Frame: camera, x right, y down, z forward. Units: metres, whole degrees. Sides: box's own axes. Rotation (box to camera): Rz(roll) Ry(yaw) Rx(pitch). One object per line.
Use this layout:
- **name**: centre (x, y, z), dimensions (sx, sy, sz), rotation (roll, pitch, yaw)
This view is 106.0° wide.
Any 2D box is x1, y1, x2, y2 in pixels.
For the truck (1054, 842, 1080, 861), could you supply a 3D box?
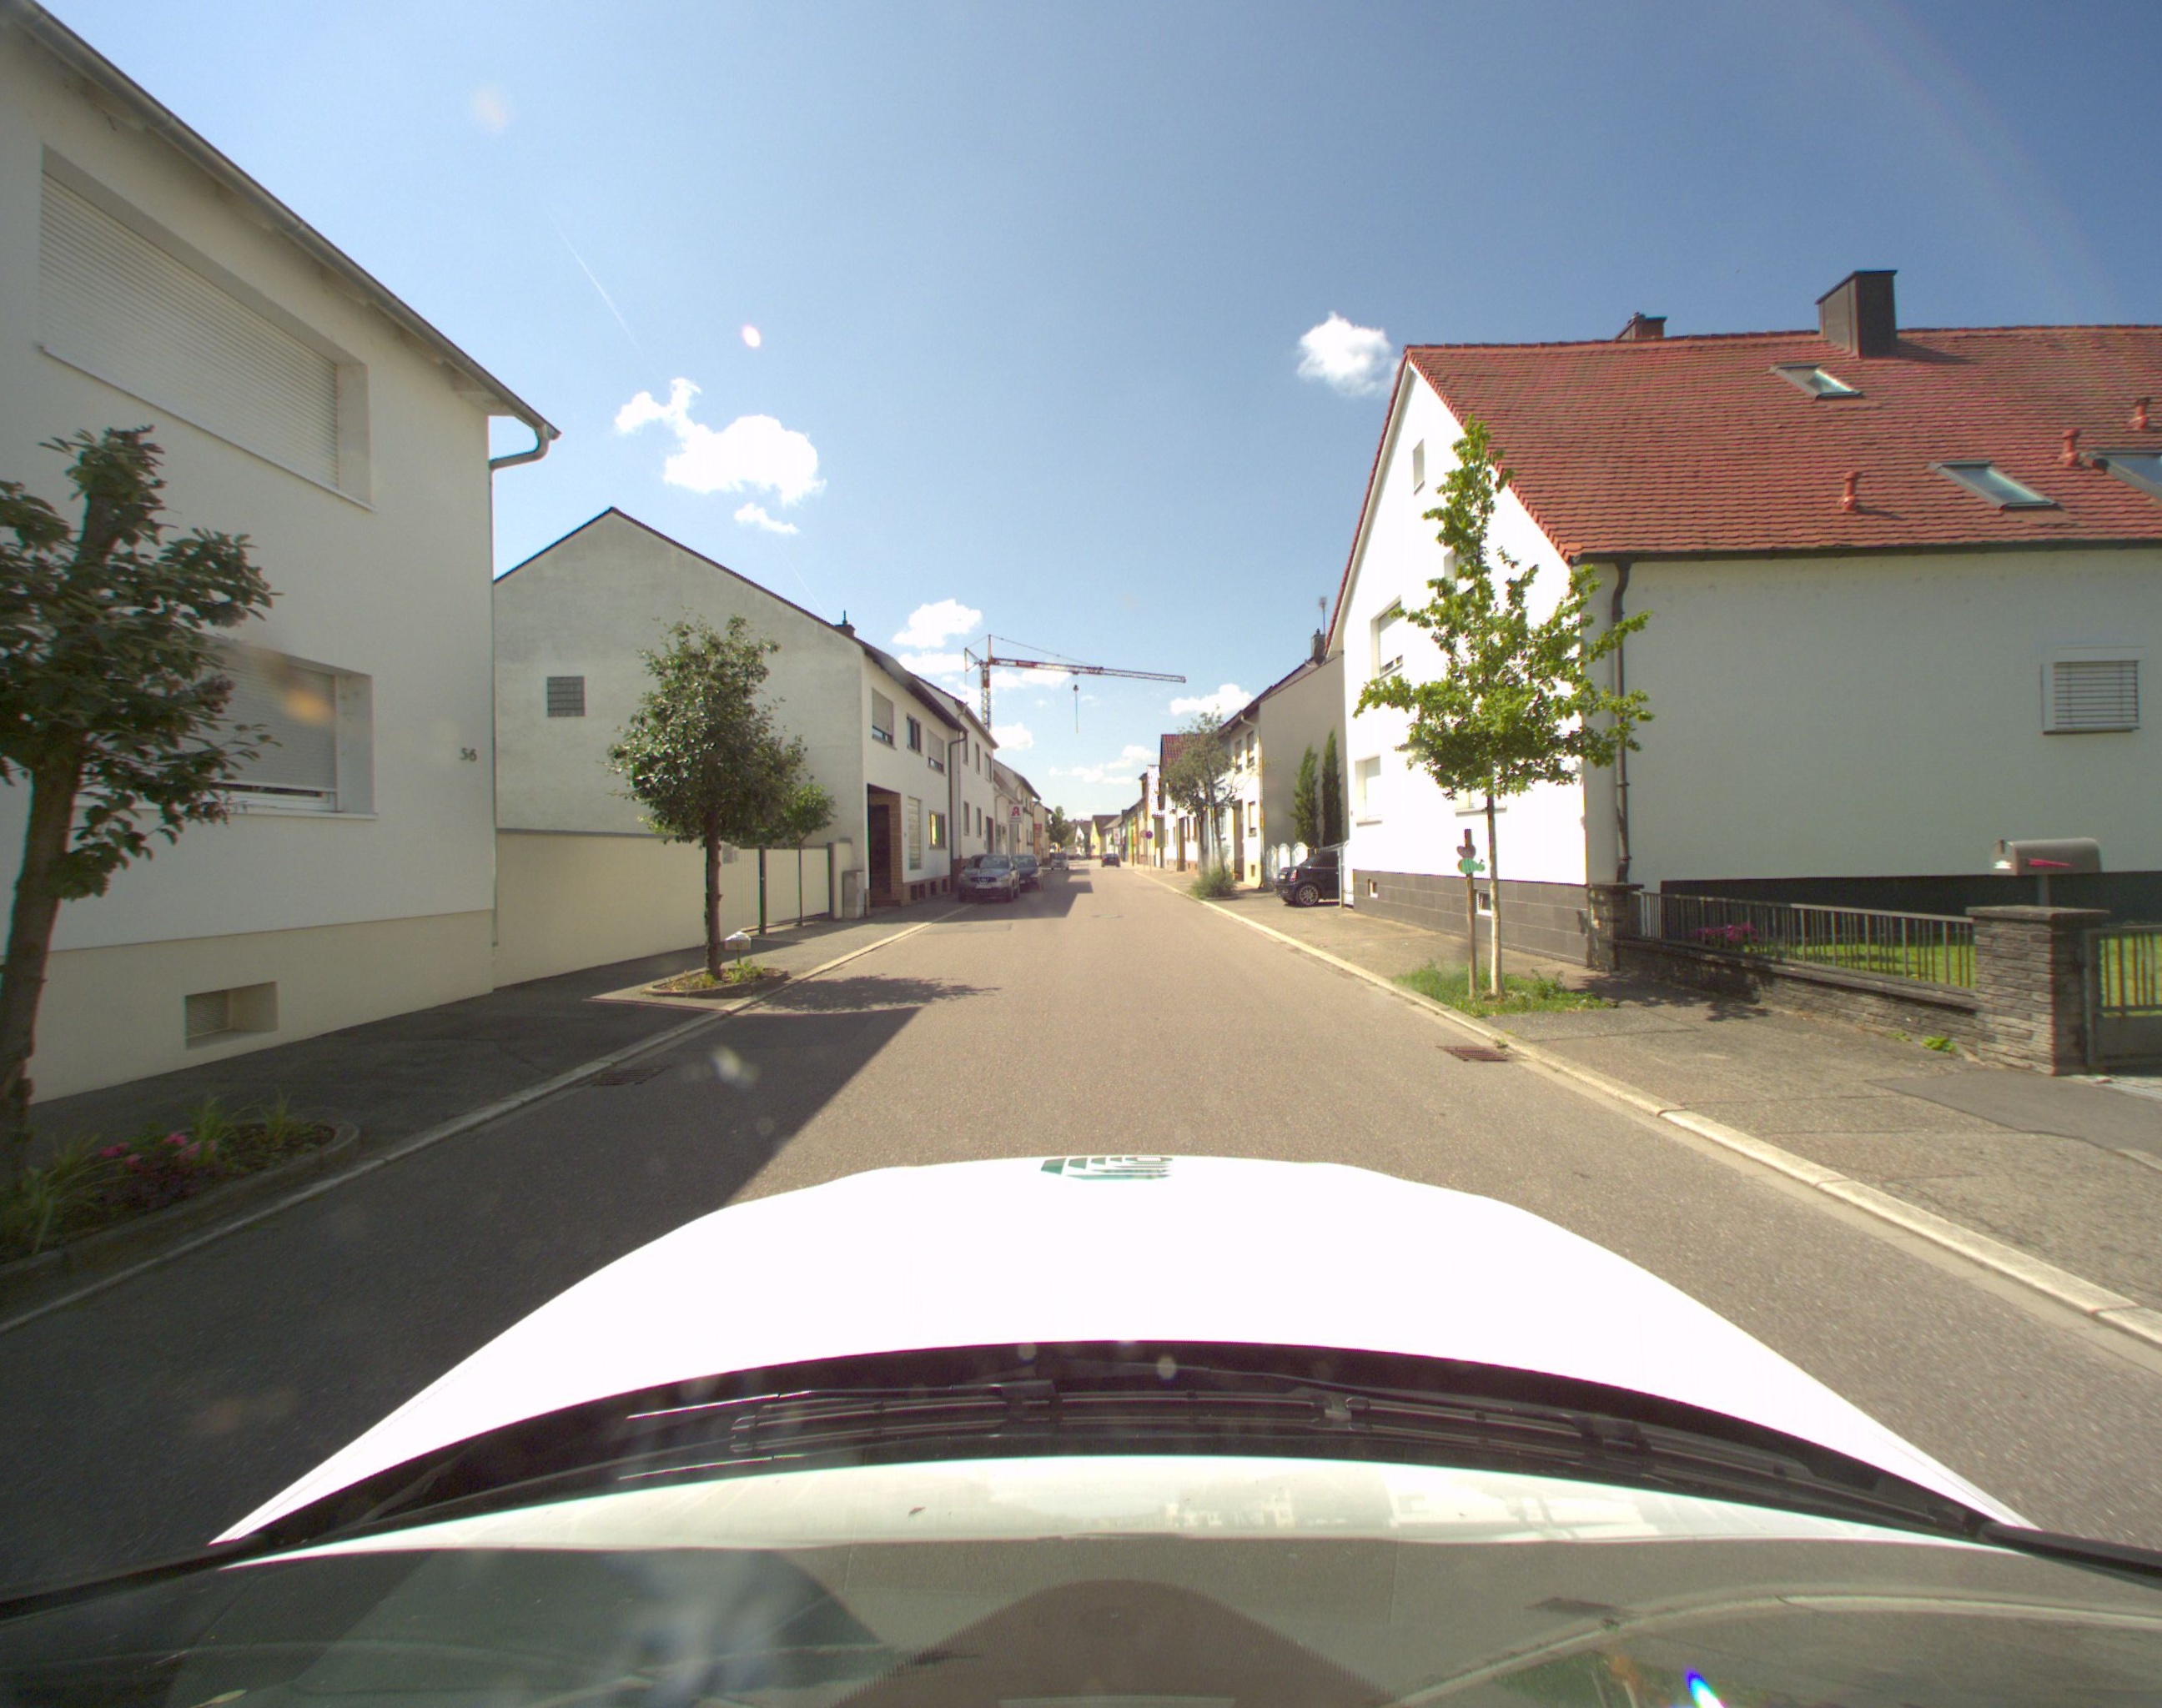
- **truck**: centre (-3.260, -0.526, 183.658), dimensions (3.381, 3.865, 13.871), rotation (-2, 0, -11)

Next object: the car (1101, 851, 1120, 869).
- **car**: centre (3.044, 0.594, 83.887), dimensions (1.777, 1.753, 3.999), rotation (-2, 0, 0)

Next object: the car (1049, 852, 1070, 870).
- **car**: centre (-1.907, 0.617, 74.050), dimensions (1.717, 1.555, 4.173), rotation (0, 0, 1)

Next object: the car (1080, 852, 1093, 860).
- **car**: centre (1.186, 0.420, 181.055), dimensions (1.786, 1.753, 4.205), rotation (-2, 0, -16)

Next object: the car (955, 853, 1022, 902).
- **car**: centre (-3.105, 0.745, 28.061), dimensions (1.753, 1.525, 4.288), rotation (-1, 0, 0)

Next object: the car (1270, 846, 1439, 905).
- **car**: centre (7.180, 0.555, 21.640), dimensions (3.908, 1.415, 1.741), rotation (-1, 0, 1)

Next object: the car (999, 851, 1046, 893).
- **car**: centre (-2.428, 0.718, 34.657), dimensions (1.648, 1.609, 4.060), rotation (-1, 0, 0)

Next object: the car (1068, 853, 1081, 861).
- **car**: centre (-1.556, 0.675, 190.471), dimensions (1.824, 1.753, 4.207), rotation (-2, 0, -15)
